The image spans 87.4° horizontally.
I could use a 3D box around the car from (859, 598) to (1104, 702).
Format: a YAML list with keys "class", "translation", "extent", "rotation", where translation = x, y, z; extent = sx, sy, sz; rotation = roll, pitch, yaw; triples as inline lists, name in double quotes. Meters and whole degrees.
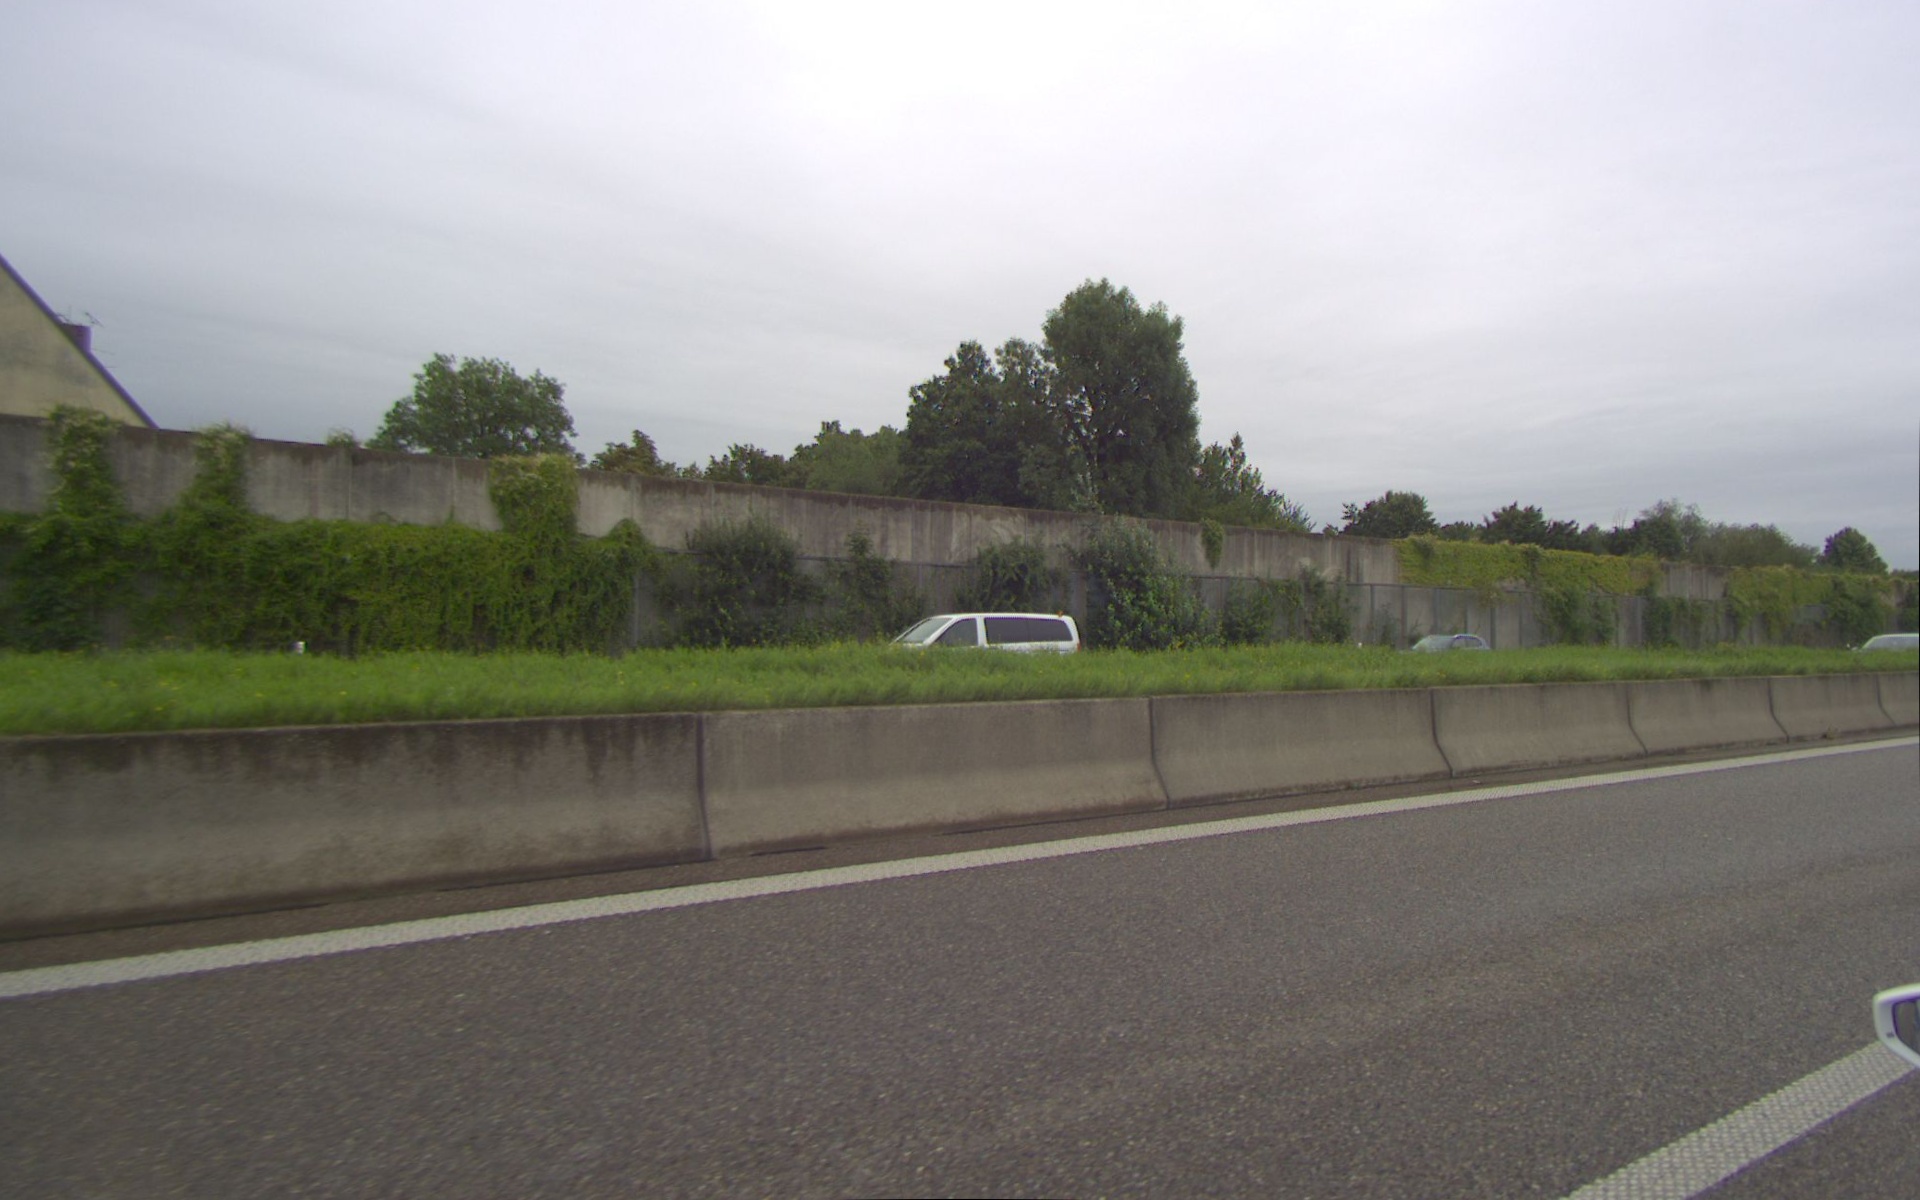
- class: "car"
  translation: [0.536, 1.071, 22.220]
  extent: [5.168, 2.040, 1.983]
  rotation: [2, 0, -31]

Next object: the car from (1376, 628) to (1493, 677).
- class: "car"
  translation: [17.040, 1.866, 36.020]
  extent: [3.957, 1.595, 1.982]
  rotation: [2, 0, -33]
